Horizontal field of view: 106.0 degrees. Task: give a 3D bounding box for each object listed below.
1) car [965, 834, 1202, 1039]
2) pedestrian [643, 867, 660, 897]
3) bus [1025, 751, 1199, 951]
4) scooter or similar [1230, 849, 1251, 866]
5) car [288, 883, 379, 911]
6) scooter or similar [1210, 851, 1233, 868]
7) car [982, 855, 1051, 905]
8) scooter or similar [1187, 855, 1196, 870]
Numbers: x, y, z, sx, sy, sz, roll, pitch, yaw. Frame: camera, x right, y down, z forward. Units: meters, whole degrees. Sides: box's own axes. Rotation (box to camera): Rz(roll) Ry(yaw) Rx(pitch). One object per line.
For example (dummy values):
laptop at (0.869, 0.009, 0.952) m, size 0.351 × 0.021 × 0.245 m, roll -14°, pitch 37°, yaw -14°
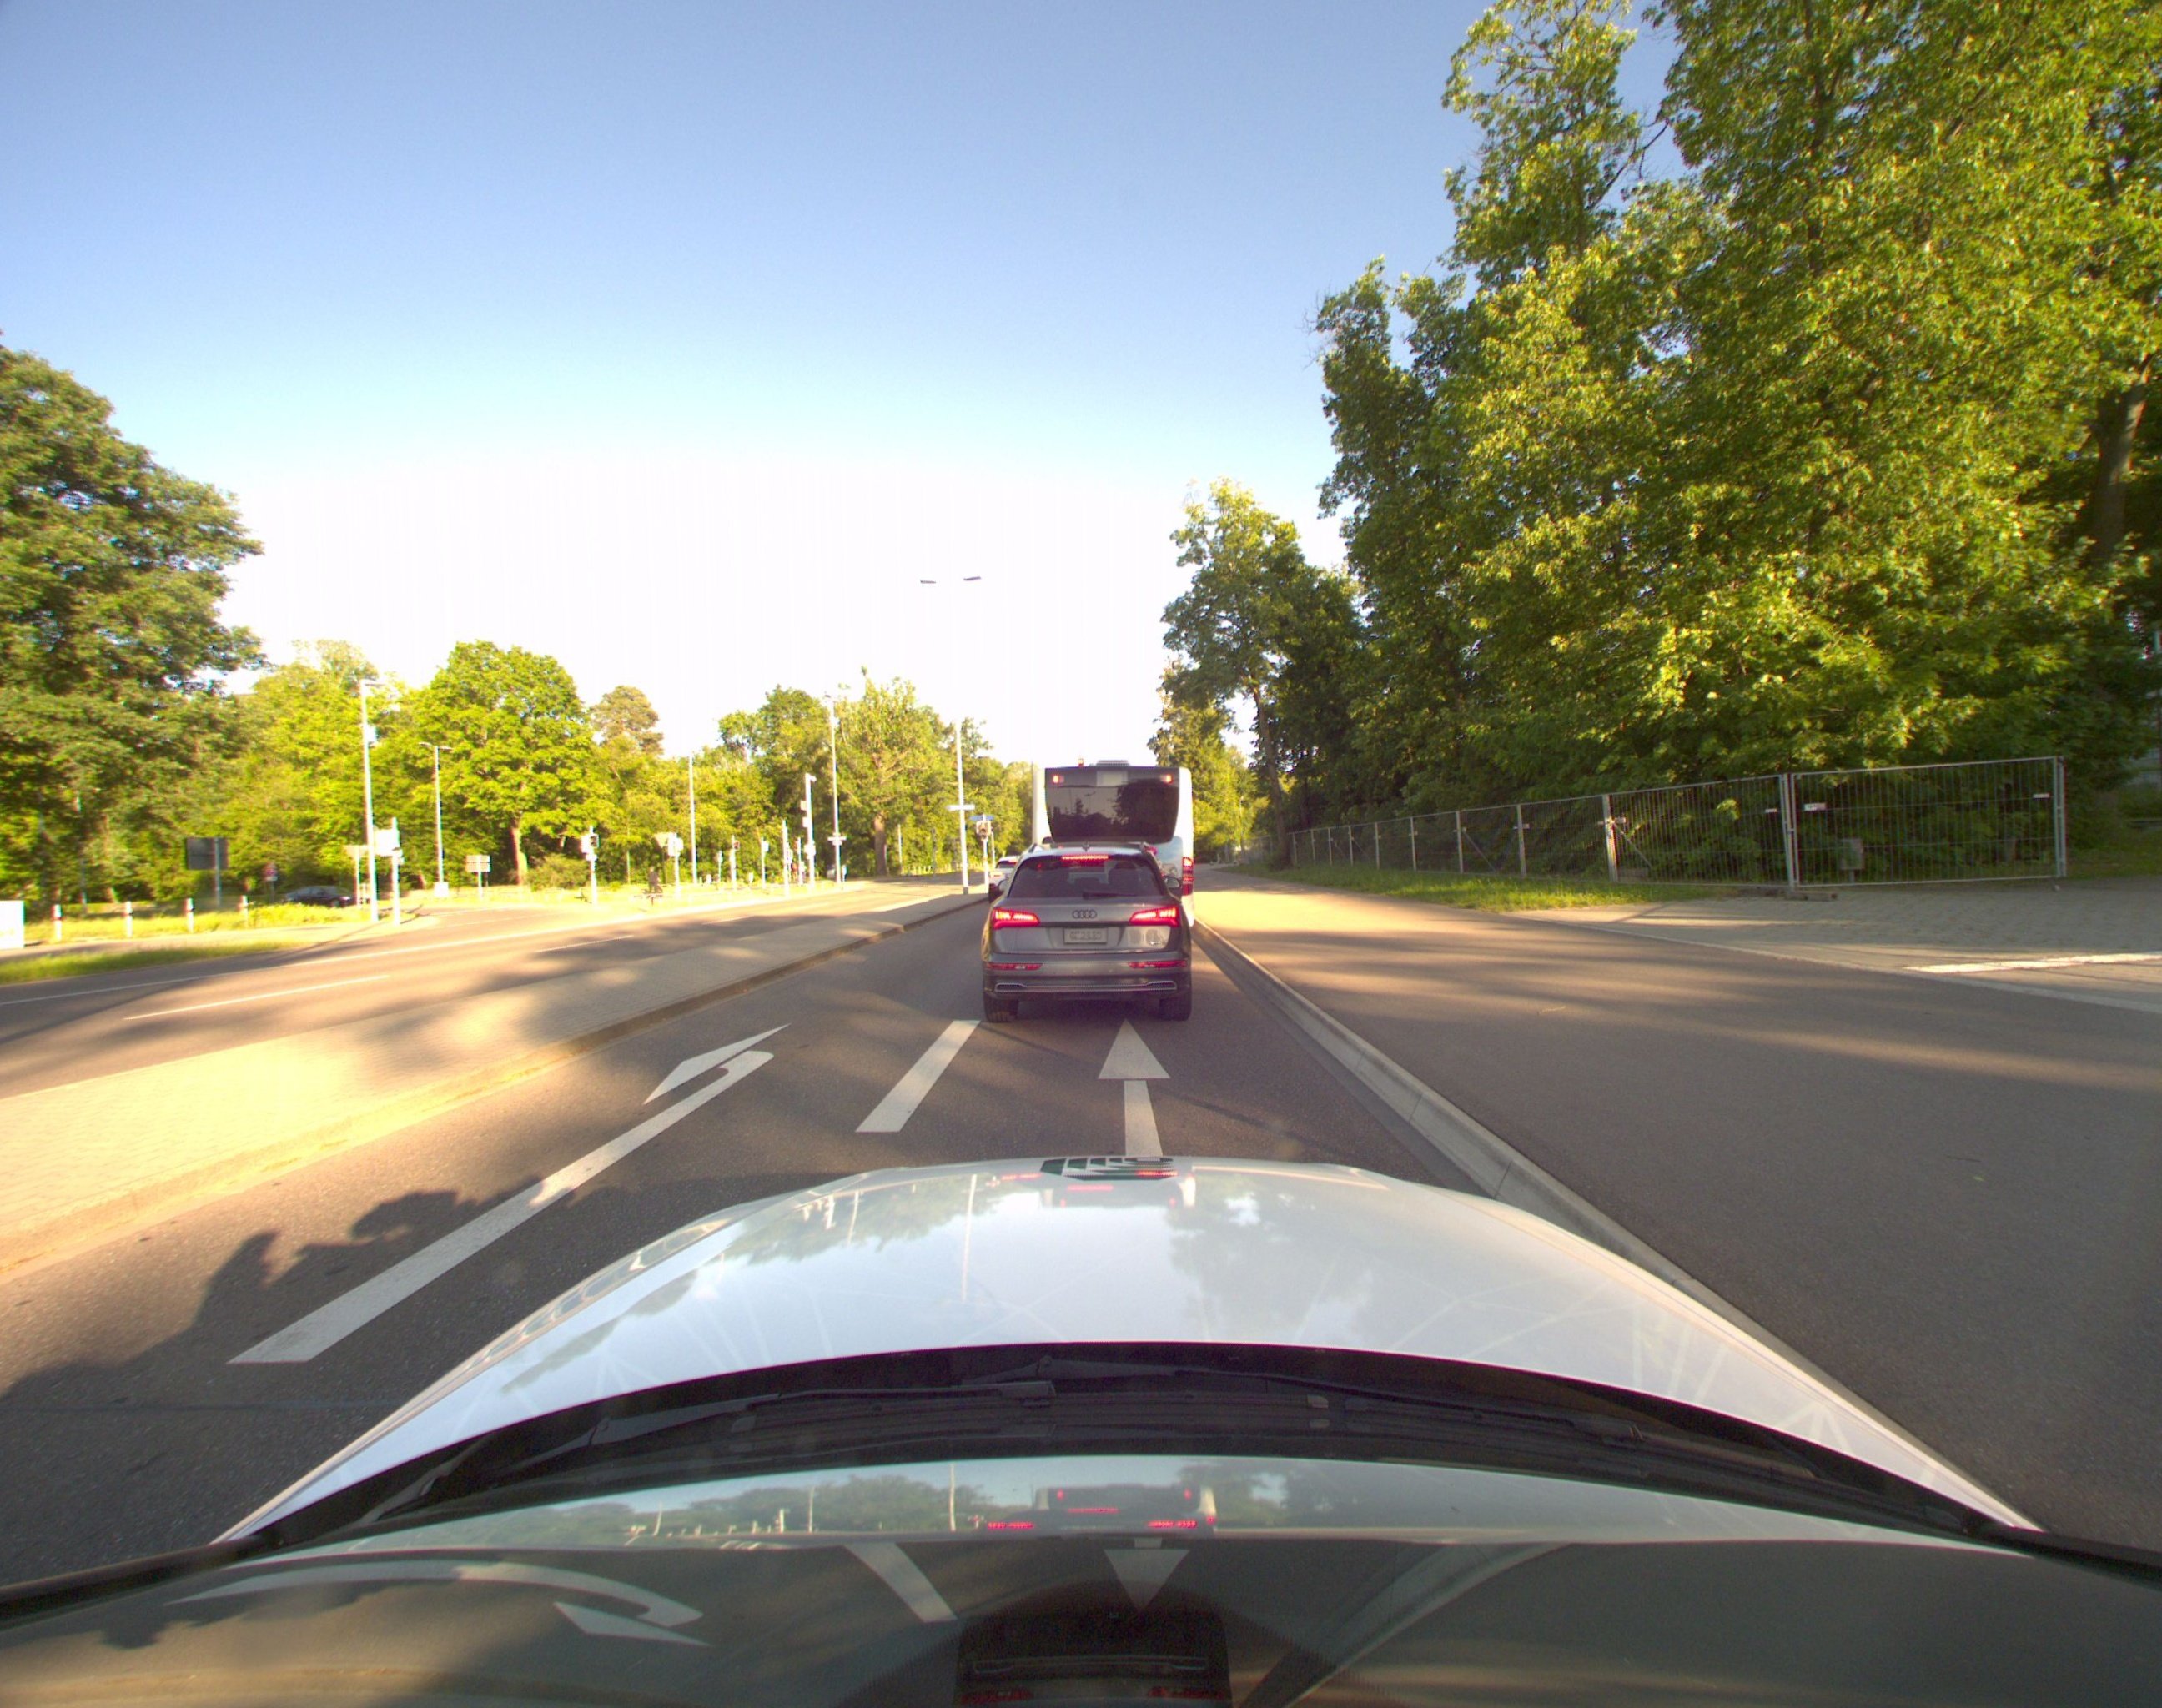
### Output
car at (0.082, 0.666, 8.565) m, size 1.891 × 1.632 × 4.002 m, roll -1°, pitch 0°, yaw 2°
pedestrian at (-22.703, 1.494, 43.018) m, size 0.652 × 1.560 × 0.533 m, roll -2°, pitch 0°, yaw -41°
bus at (0.622, -0.002, 17.062) m, size 2.585 × 2.989 × 9.330 m, roll -1°, pitch -1°, yaw 2°
scooter or similar at (15.498, 0.333, 79.140) m, size 0.543 × 1.567 × 1.999 m, roll -3°, pitch 0°, yaw -37°
car at (-44.882, 2.591, 48.941) m, size 4.081 × 1.387 × 1.755 m, roll -3°, pitch 0°, yaw 6°
scooter or similar at (13.440, 0.536, 77.892) m, size 2.025 × 1.444 × 0.601 m, roll -3°, pitch 0°, yaw -23°
car at (-2.117, 0.813, 27.778) m, size 1.829 × 1.518 × 4.002 m, roll -2°, pitch 0°, yaw 2°
scooter or similar at (10.951, 0.791, 80.667) m, size 0.507 × 1.444 × 2.020 m, roll -3°, pitch 0°, yaw -3°
